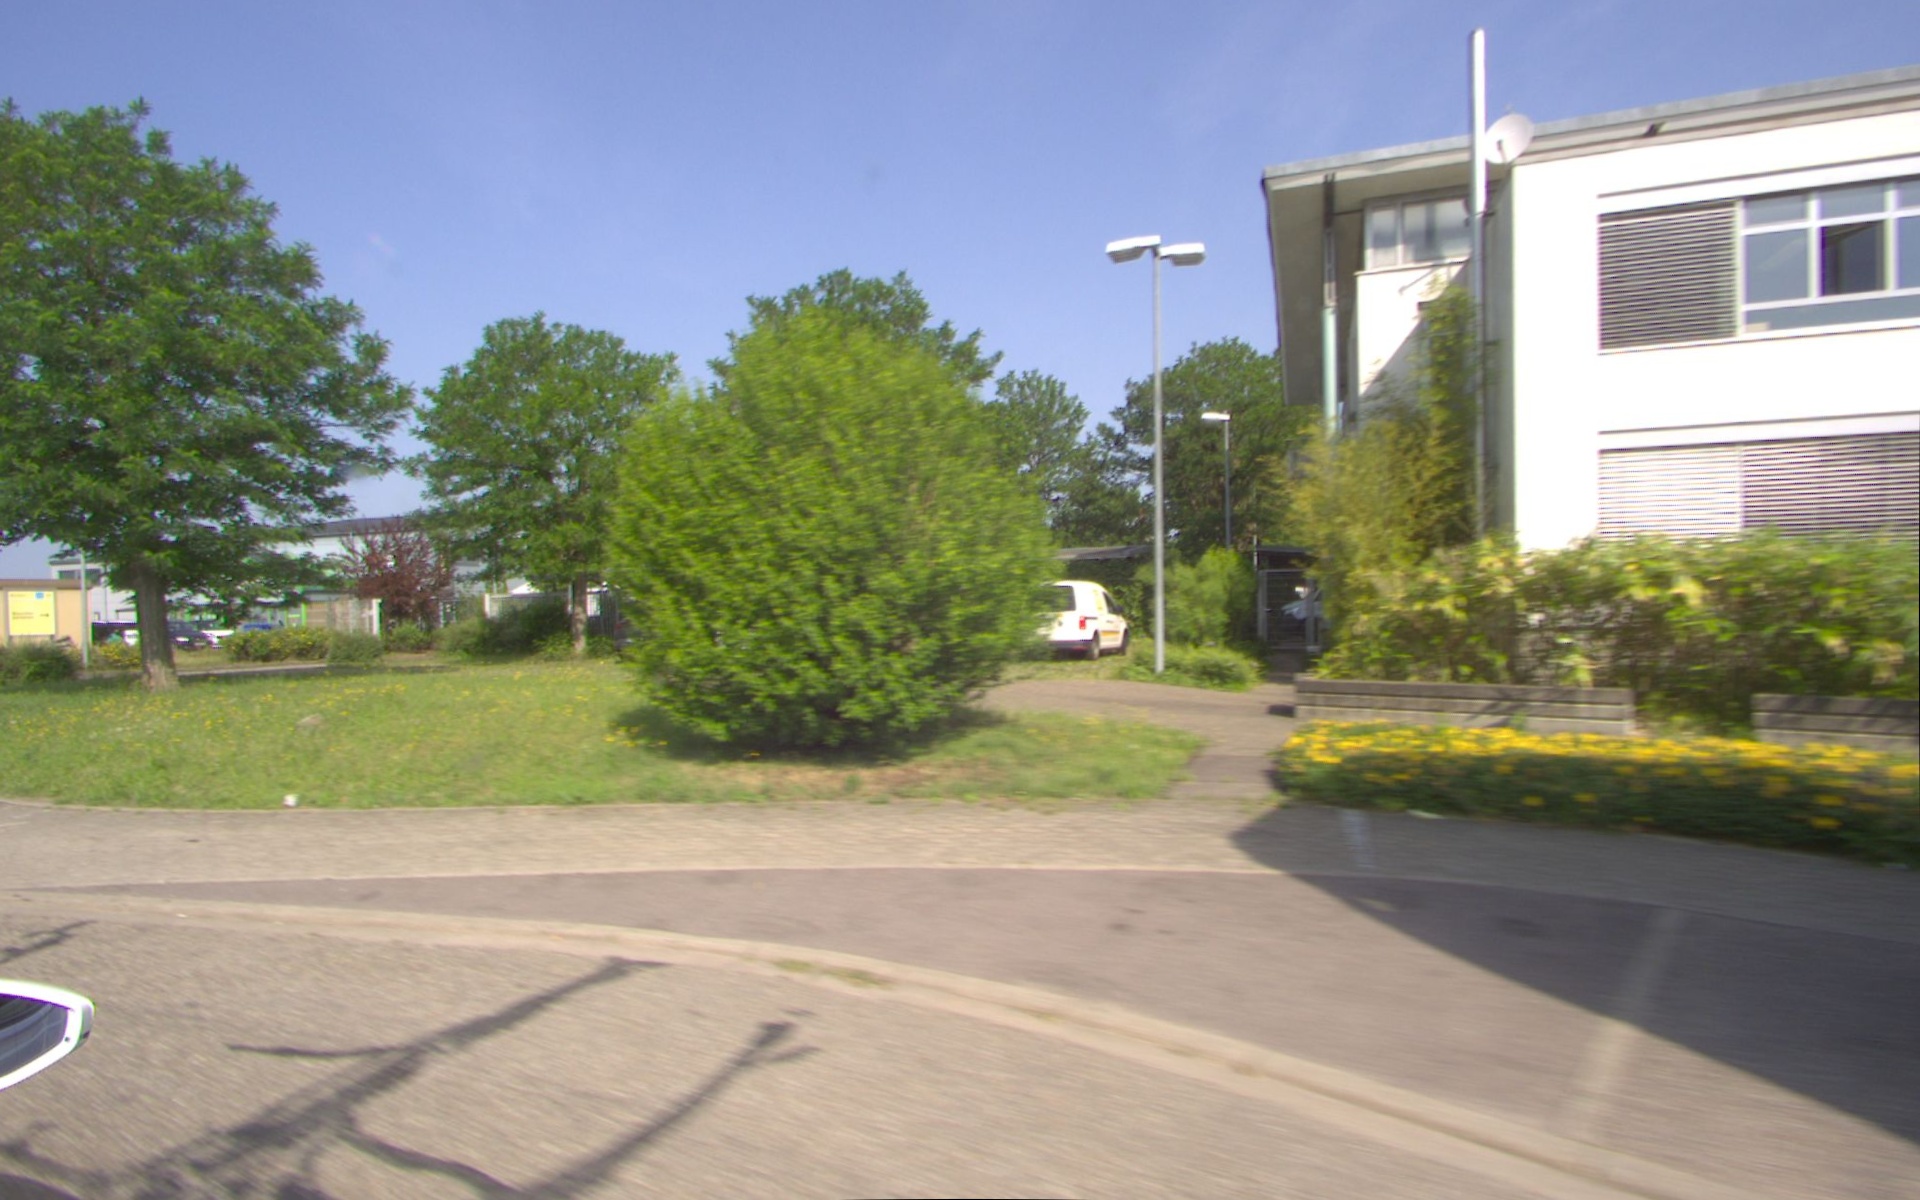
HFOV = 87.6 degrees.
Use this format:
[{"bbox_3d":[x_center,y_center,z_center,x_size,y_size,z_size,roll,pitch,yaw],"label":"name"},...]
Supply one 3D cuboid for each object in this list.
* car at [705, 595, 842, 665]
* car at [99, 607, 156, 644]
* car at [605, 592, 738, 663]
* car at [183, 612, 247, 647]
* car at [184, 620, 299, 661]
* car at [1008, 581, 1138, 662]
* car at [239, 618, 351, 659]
[{"bbox_3d":[-4.861,0.822,26.674,1.735,1.722,4.080,-1,-2,21],"label":"car"},{"bbox_3d":[-38.717,1.232,46.554,1.707,1.638,3.961,1,-3,-45],"label":"car"},{"bbox_3d":[-7.898,0.789,27.794,1.962,1.789,4.000,-1,-2,11],"label":"car"},{"bbox_3d":[-36.126,1.451,48.534,3.957,1.660,1.783,-2,-3,43],"label":"car"},{"bbox_3d":[-24.416,1.390,34.038,3.604,1.347,1.668,-1,-2,26],"label":"car"},{"bbox_3d":[2.761,0.543,23.682,1.797,1.727,3.987,-1,-2,27],"label":"car"},{"bbox_3d":[-23.663,1.373,35.630,3.604,1.390,1.749,-1,-2,26],"label":"car"}]
